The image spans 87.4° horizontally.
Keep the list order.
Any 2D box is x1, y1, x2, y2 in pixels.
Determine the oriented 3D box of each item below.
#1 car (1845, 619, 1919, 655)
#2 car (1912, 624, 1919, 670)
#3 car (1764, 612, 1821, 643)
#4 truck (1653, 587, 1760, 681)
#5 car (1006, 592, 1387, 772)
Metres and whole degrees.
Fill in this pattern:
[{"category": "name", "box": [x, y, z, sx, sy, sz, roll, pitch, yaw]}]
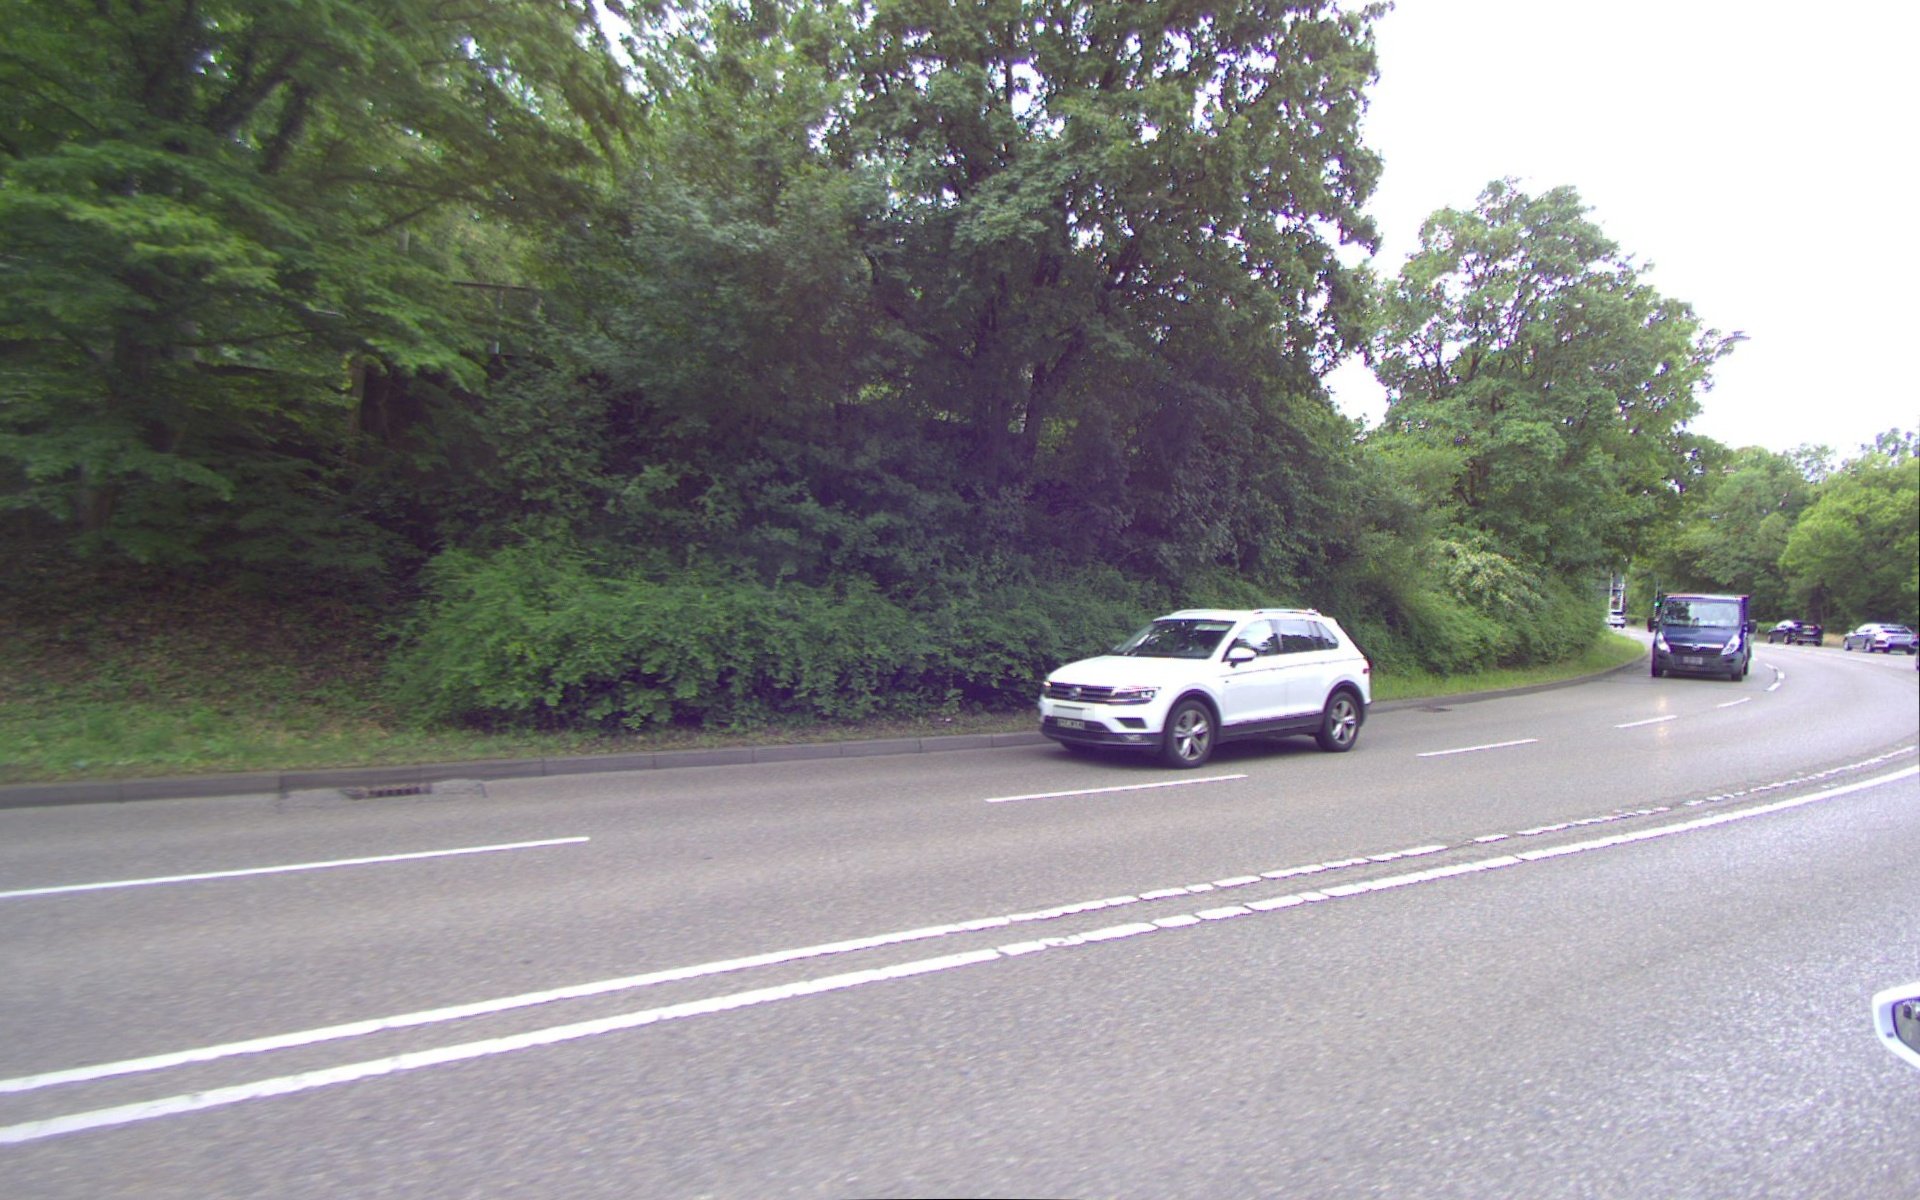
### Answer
[{"category": "car", "box": [45.667, 1.797, 49.395, 1.705, 1.502, 4.698, 4, 2, 23]}, {"category": "car", "box": [32.557, 1.587, 32.684, 1.926, 1.486, 3.982, 3, 1, 39]}, {"category": "car", "box": [50.673, 1.630, 61.210, 1.739, 1.628, 3.994, 4, 2, 27]}, {"category": "truck", "box": [21.424, 0.910, 29.058, 2.131, 2.402, 6.658, 1, 0, 34]}, {"category": "car", "box": [2.819, 0.870, 11.605, 4.391, 1.717, 1.844, 2, -3, -35]}]
